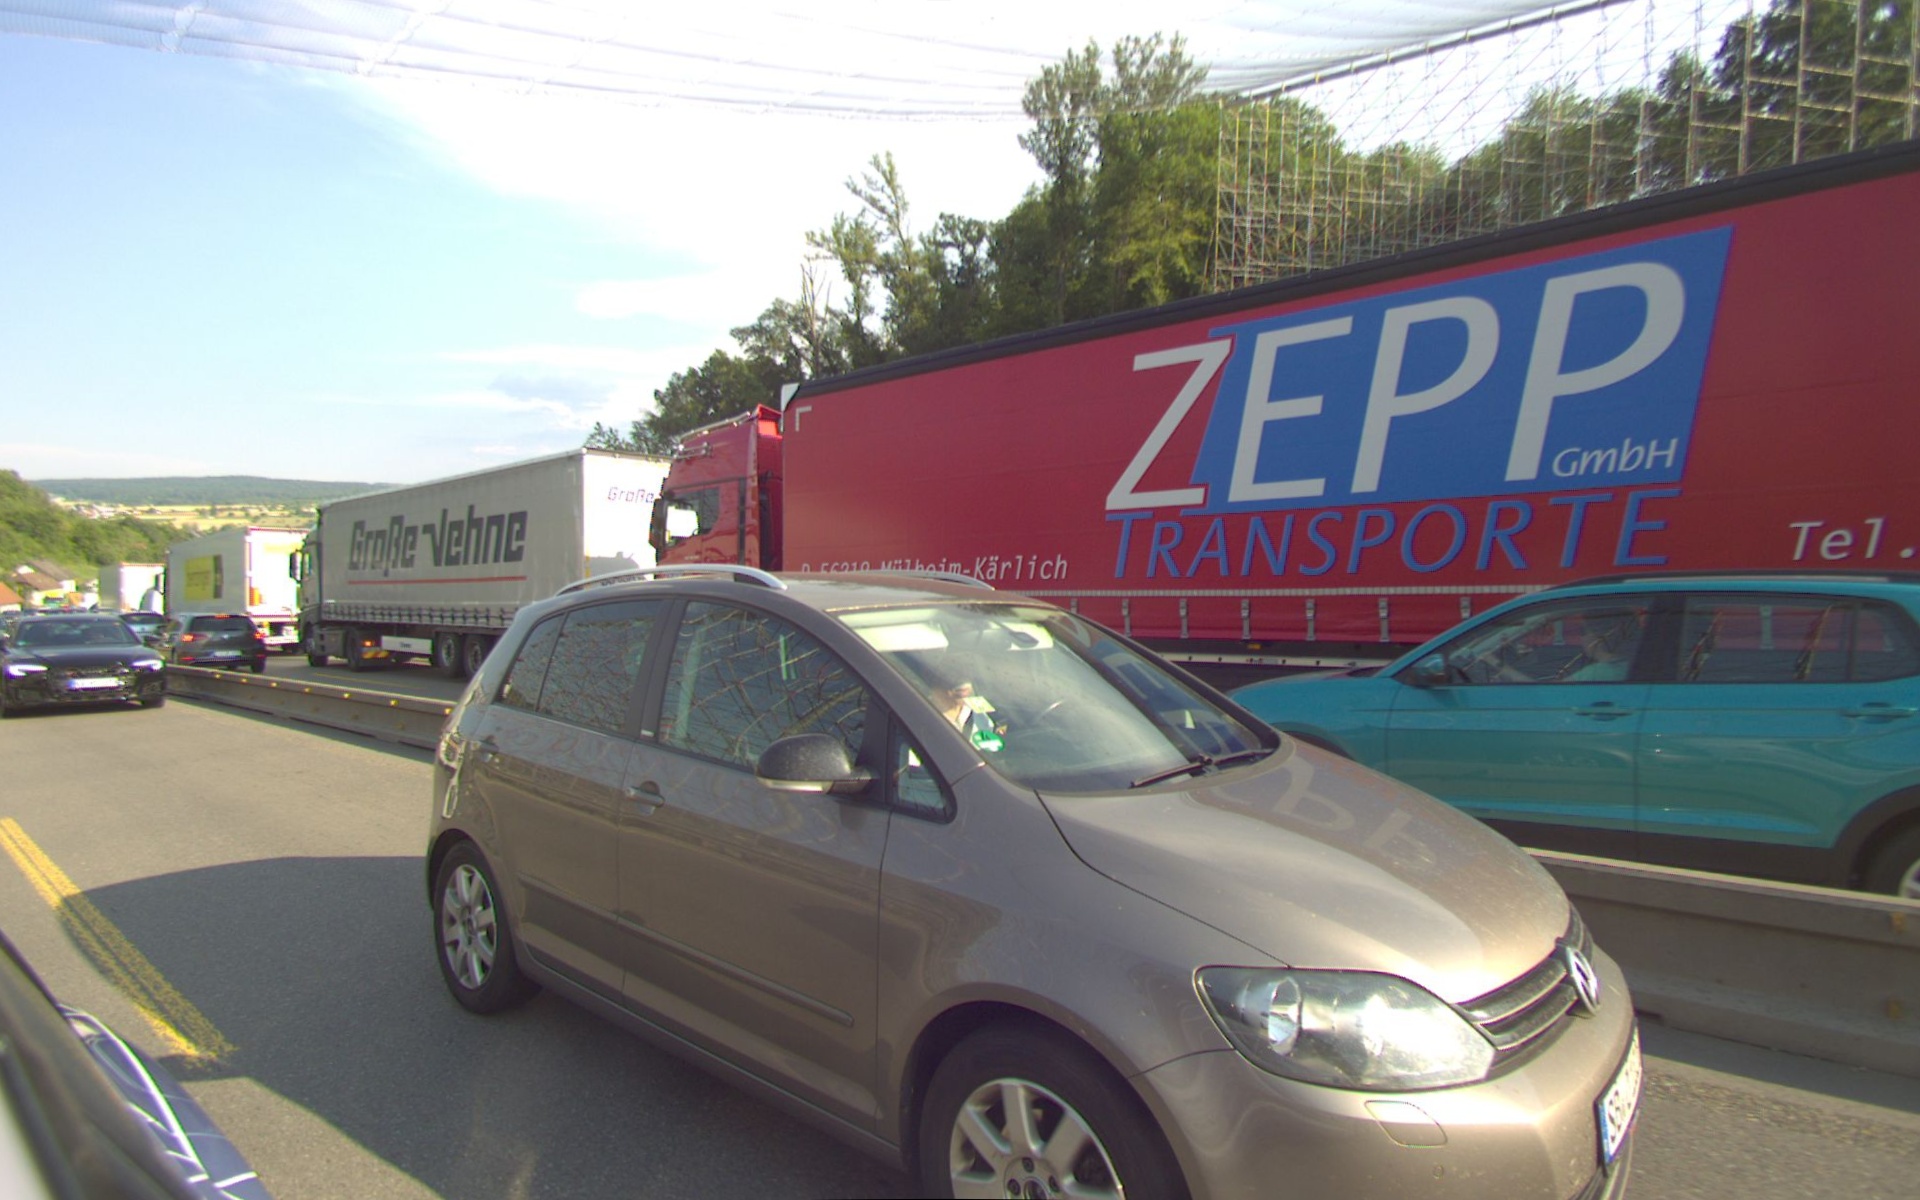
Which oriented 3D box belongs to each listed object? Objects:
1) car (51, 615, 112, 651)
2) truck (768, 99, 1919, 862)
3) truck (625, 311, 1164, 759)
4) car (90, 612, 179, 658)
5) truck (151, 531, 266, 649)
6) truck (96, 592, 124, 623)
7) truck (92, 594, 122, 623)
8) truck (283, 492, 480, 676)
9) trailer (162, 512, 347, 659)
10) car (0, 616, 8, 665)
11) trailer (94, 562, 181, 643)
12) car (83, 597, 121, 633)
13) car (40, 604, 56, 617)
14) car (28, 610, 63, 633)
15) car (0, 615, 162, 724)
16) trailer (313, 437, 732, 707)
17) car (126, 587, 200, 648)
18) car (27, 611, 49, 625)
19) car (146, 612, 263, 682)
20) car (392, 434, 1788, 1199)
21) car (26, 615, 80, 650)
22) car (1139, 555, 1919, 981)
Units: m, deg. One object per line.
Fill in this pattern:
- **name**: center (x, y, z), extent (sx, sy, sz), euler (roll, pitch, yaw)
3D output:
- **car**: center (-38.175, 1.404, 43.927), extent (1.711, 1.388, 4.894), euler (-2, 1, -44)
- **truck**: center (3.938, -0.638, 8.419), extent (13.795, 4.172, 2.759), euler (0, 0, 40)
- **truck**: center (-1.104, -0.591, 12.629), extent (6.673, 4.172, 2.759), euler (0, 0, 40)
- **car**: center (-28.656, 1.174, 35.073), extent (4.838, 1.450, 1.713), euler (-1, 0, 43)
- **truck**: center (-29.922, -0.361, 40.219), extent (5.935, 4.332, 2.714), euler (-1, 0, 44)
- **truck**: center (-116.393, 0.991, 138.653), extent (2.673, 4.119, 14.179), euler (1, -1, -39)
- **truck**: center (-107.454, 1.102, 127.565), extent (2.415, 3.489, 7.633), euler (1, -1, -38)
- **truck**: center (-14.941, -0.342, 25.975), extent (5.933, 4.172, 2.757), euler (-1, 0, 43)
- **trailer**: center (-25.271, -0.386, 35.755), extent (13.884, 4.366, 2.735), euler (0, 0, 44)
- **car**: center (-29.722, 1.240, 30.290), extent (1.675, 1.409, 4.002), euler (-2, 0, -45)
- **trailer**: center (-48.084, 0.146, 58.944), extent (2.689, 4.250, 13.757), euler (0, 0, -44)
- **car**: center (-73.378, 1.208, 86.554), extent (2.305, 2.940, 7.644), euler (1, -1, -41)
- **car**: center (-145.036, 1.660, 160.968), extent (1.795, 2.015, 4.761), euler (3, -3, -42)
- **car**: center (-68.878, 1.603, 76.203), extent (1.847, 1.601, 4.808), euler (-2, 1, -43)
- **car**: center (-13.726, 0.960, 15.482), extent (4.001, 1.409, 1.841), euler (0, -1, 44)
- **trailer**: center (-10.021, -0.390, 21.415), extent (13.966, 4.172, 2.768), euler (0, 0, 43)
- **car**: center (-38.825, 0.886, 49.230), extent (1.999, 2.710, 6.952), euler (-2, 0, -45)
- **car**: center (-106.192, 2.105, 116.555), extent (1.795, 1.591, 4.761), euler (3, -3, -42)
- **car**: center (-18.349, 1.070, 24.502), extent (1.632, 1.475, 4.402), euler (-2, 1, -45)
- **car**: center (-0.093, 0.607, 3.156), extent (4.098, 1.585, 1.666), euler (0, 0, 41)
- **car**: center (-45.521, 1.593, 50.758), extent (4.864, 1.670, 1.732), euler (-1, -1, 45)
- **car**: center (3.205, 0.608, 5.043), extent (4.264, 1.546, 1.725), euler (-1, 0, 41)
